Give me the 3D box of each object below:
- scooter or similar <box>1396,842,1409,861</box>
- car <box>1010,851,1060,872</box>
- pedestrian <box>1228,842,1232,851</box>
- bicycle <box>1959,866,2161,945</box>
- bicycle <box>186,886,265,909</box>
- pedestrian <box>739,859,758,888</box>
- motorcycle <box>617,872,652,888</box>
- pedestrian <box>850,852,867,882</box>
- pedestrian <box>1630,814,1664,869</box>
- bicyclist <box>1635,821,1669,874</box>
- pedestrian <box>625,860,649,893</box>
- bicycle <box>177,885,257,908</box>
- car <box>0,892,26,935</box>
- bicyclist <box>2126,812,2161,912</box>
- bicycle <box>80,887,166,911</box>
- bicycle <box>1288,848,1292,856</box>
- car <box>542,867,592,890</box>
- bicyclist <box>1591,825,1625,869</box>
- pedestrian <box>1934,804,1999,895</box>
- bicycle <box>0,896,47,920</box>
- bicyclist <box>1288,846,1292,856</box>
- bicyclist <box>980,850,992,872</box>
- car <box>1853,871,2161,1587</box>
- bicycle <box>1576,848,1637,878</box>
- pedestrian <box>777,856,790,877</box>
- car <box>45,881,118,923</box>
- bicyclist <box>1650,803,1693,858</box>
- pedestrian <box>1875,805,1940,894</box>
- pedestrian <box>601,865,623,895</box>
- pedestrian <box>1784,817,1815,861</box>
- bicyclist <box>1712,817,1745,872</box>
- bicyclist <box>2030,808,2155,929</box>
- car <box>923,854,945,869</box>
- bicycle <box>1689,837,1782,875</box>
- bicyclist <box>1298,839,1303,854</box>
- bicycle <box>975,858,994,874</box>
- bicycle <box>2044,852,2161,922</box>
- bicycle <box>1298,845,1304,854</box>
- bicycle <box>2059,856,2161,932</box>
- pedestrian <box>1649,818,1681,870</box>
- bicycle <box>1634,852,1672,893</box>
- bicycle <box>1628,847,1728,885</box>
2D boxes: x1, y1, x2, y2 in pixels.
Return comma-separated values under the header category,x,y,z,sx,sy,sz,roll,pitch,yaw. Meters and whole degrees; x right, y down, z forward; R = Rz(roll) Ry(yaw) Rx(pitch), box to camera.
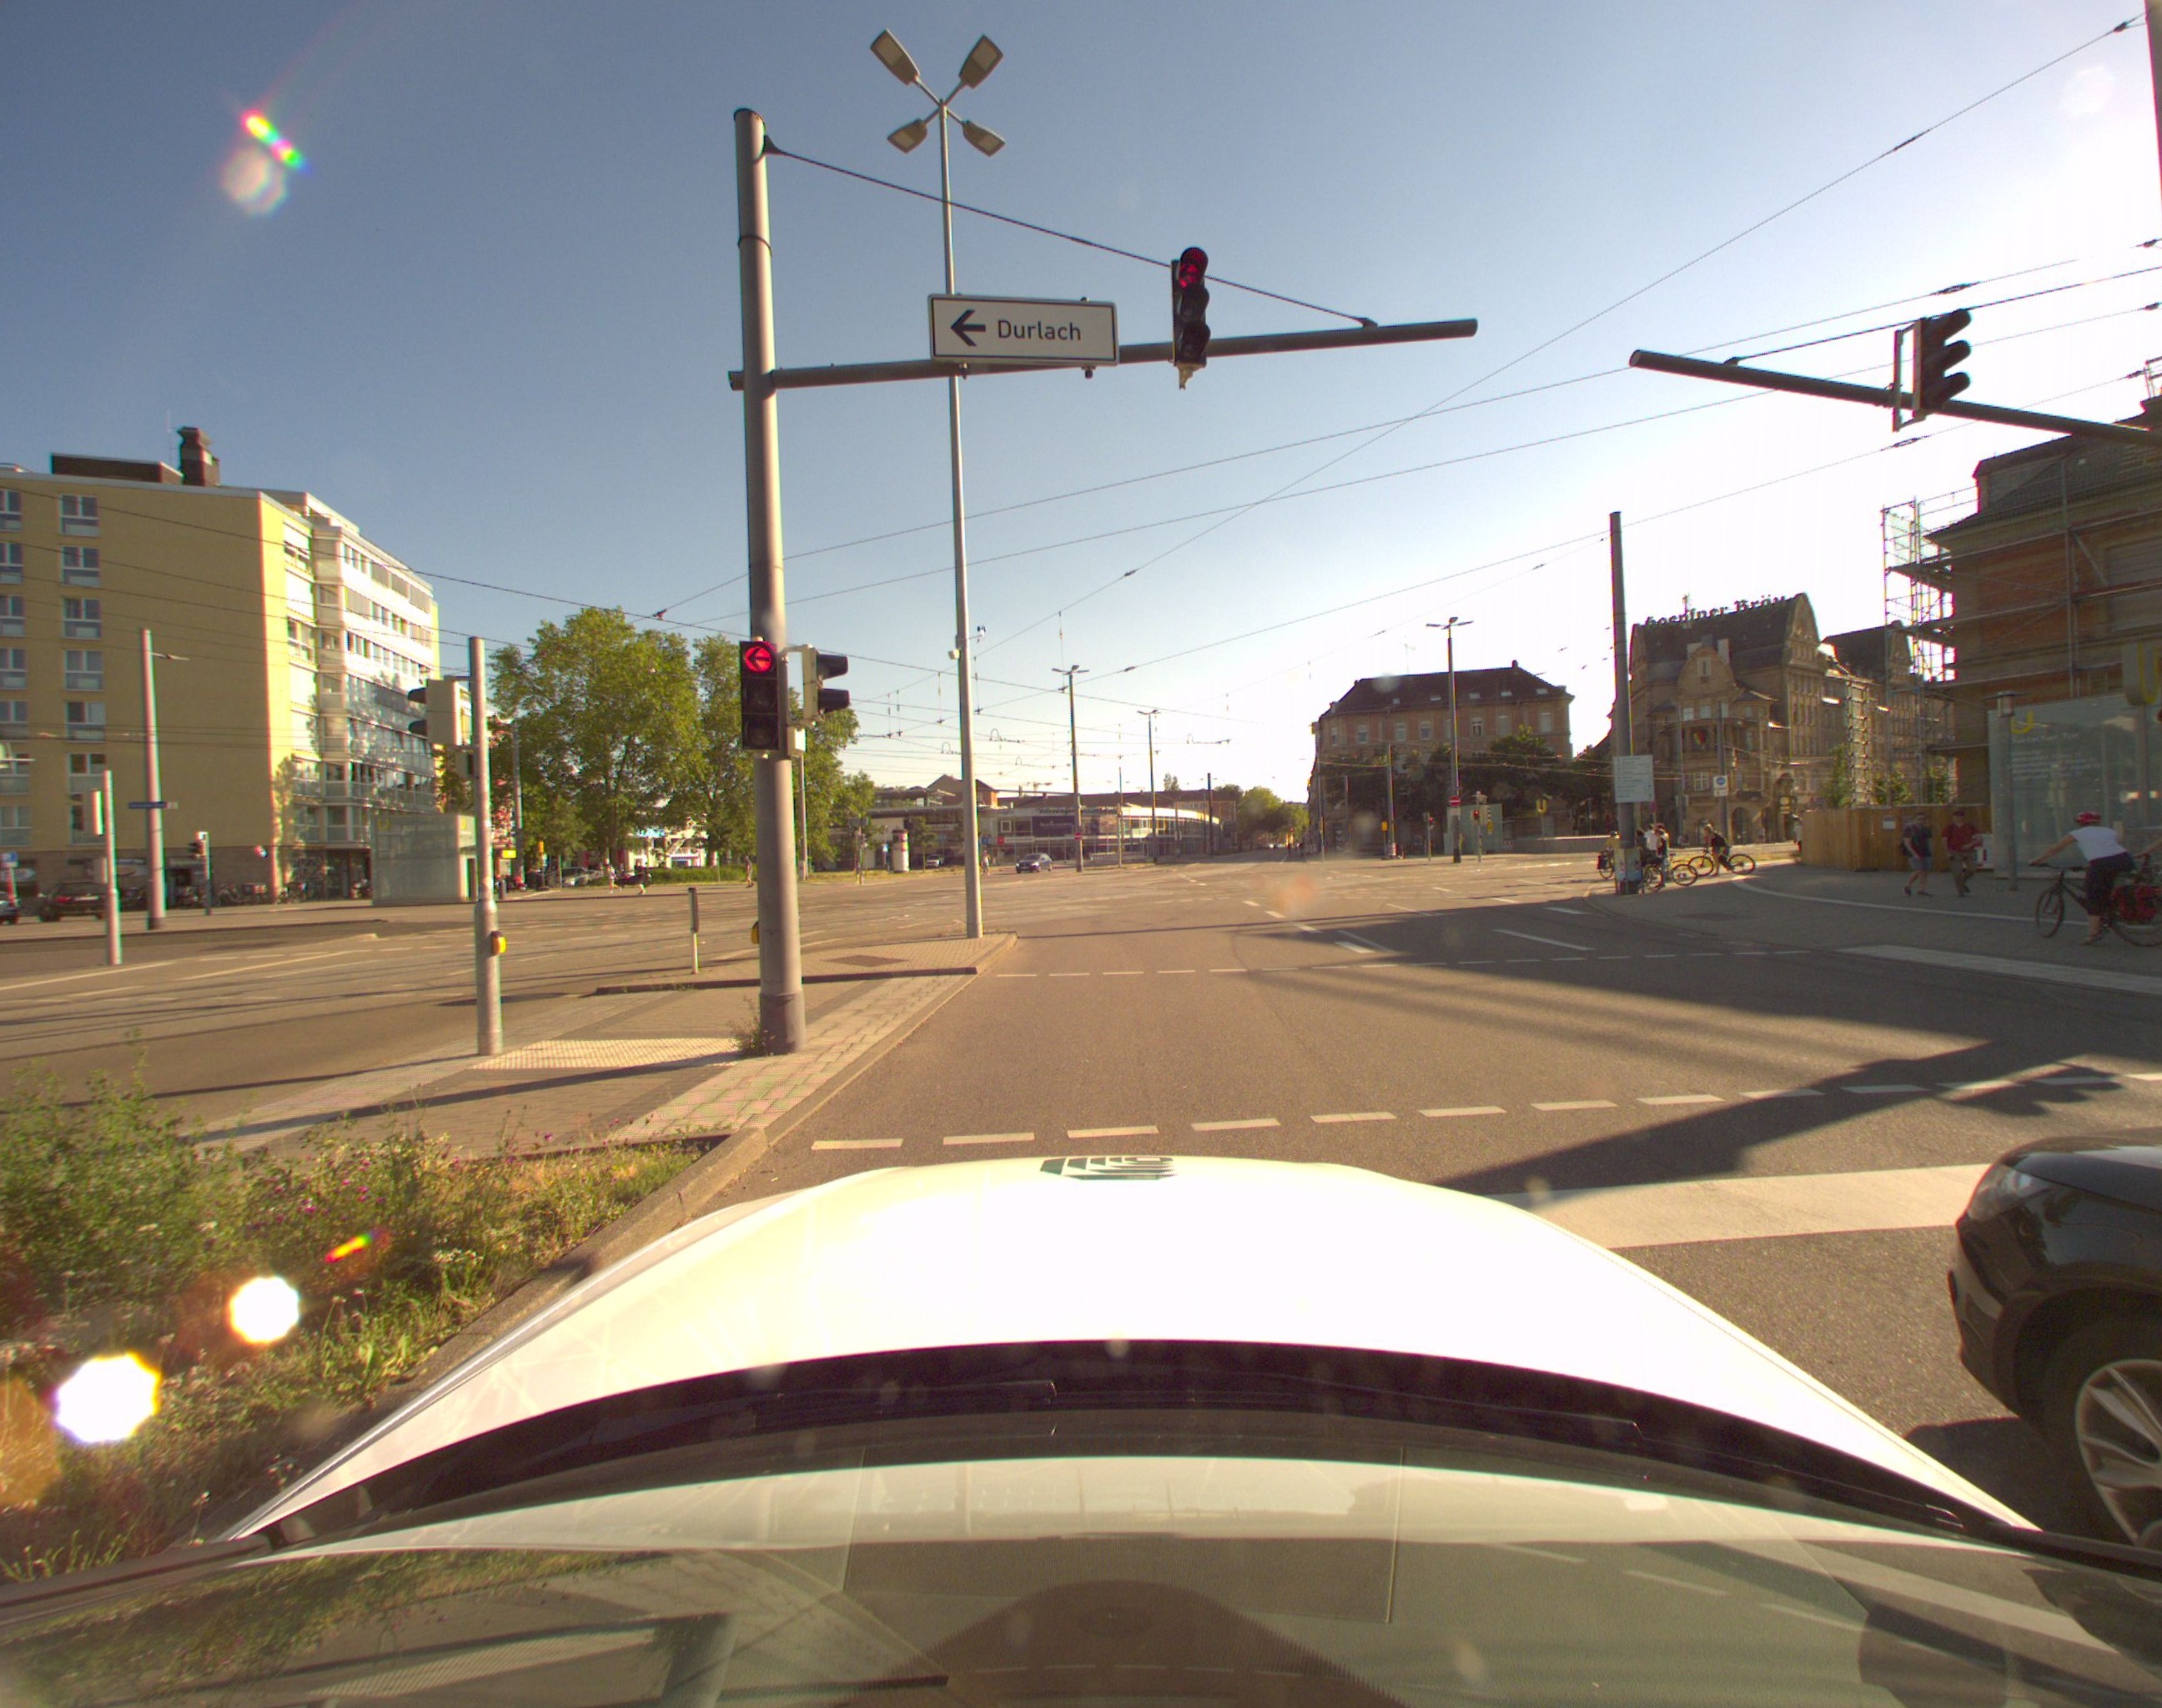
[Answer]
category,x,y,z,sx,sy,sz,roll,pitch,yaw
scooter or similar,24.749,-0.178,62.748,0.780,1.376,1.916,-1,-1,16
car,-3.459,0.567,61.888,1.975,1.585,4.024,-1,-1,29
pedestrian,36.536,-1.837,199.513,0.713,2.014,0.758,0,-1,3
bicycle,13.496,0.652,11.163,0.656,0.963,2.033,0,-1,-3
bicycle,-46.422,2.338,44.247,3.041,1.151,0.637,0,-1,-16
pedestrian,-19.847,1.164,48.609,0.790,1.706,0.760,-1,-1,9
motorcycle,-27.261,1.584,49.758,1.779,0.914,0.675,0,-1,-19
pedestrian,-14.323,0.851,52.338,0.790,1.886,0.760,-1,-1,9
pedestrian,21.131,-0.456,30.409,0.730,2.014,0.760,0,-1,-6
bicyclist,15.975,-0.171,22.815,0.701,1.439,0.953,-1,-1,31
pedestrian,-22.869,1.164,41.987,0.790,1.706,0.760,-1,-1,9
bicycle,-46.228,2.252,43.594,3.041,1.151,0.637,0,-1,-16
car,-47.011,2.552,34.883,3.948,1.706,2.013,-1,-1,35
bicyclist,15.872,0.114,11.856,0.618,1.454,0.668,0,-1,-25
bicycle,-50.053,2.359,42.566,3.041,1.151,0.637,0,-1,-16
bicycle,23.861,-0.231,92.841,0.407,0.941,1.852,-1,-1,15
car,-37.304,1.728,59.240,1.772,1.567,3.983,0,-1,-12
bicyclist,19.097,-0.238,29.528,0.514,1.557,0.945,0,-1,-7
pedestrian,18.131,-0.088,16.684,0.672,1.807,0.680,0,-1,-19
bicycle,-54.557,2.733,41.155,3.041,1.151,0.637,0,-1,-16
bicyclist,23.881,-0.331,92.916,0.405,1.116,0.400,-1,-1,13
bicyclist,-7.010,0.528,60.131,0.593,1.615,0.827,-1,-1,20
car,2.901,0.734,0.251,1.617,1.404,4.001,0,0,2
bicycle,19.086,0.312,29.647,0.533,1.049,2.315,0,1,-6
pedestrian,-25.089,1.048,68.664,0.854,1.694,0.497,0,-1,-1
car,-44.190,2.082,36.006,3.948,1.706,1.730,-1,-1,35
bicyclist,17.210,-0.666,23.762,0.935,1.557,0.715,-1,-1,32
pedestrian,17.393,-0.091,17.143,0.672,1.807,0.680,-3,0,-19
pedestrian,-26.464,1.456,45.953,0.790,1.706,0.760,-1,-1,9
pedestrian,30.035,-0.613,34.038,0.646,1.814,0.689,0,-1,-6
bicyclist,21.205,-0.295,26.680,0.785,1.779,0.526,-1,-1,37
bicyclist,13.500,0.190,10.895,0.664,1.553,0.794,-1,-1,-2
car,-17.983,0.905,99.936,1.988,1.750,3.997,0,-1,-1
bicycle,21.327,0.074,26.601,2.290,1.049,0.539,-5,-1,36
bicyclist,25.110,-0.855,93.066,0.514,1.700,0.518,-1,-1,16
bicycle,-7.066,0.872,59.962,0.607,1.189,1.878,-1,-1,19
bicycle,15.796,0.475,11.959,0.661,0.963,2.018,-4,1,-25
bicycle,25.111,-0.480,92.956,0.652,0.952,1.607,-1,-1,17
bicycle,14.631,0.531,10.846,0.657,0.963,2.033,-4,0,-3
pedestrian,21.906,-0.380,30.557,0.646,1.922,0.689,0,-1,-6
bicycle,15.962,0.497,22.762,0.692,1.049,2.335,0,1,31
bicycle,17.316,0.342,23.689,2.290,1.049,0.705,-1,-1,32
